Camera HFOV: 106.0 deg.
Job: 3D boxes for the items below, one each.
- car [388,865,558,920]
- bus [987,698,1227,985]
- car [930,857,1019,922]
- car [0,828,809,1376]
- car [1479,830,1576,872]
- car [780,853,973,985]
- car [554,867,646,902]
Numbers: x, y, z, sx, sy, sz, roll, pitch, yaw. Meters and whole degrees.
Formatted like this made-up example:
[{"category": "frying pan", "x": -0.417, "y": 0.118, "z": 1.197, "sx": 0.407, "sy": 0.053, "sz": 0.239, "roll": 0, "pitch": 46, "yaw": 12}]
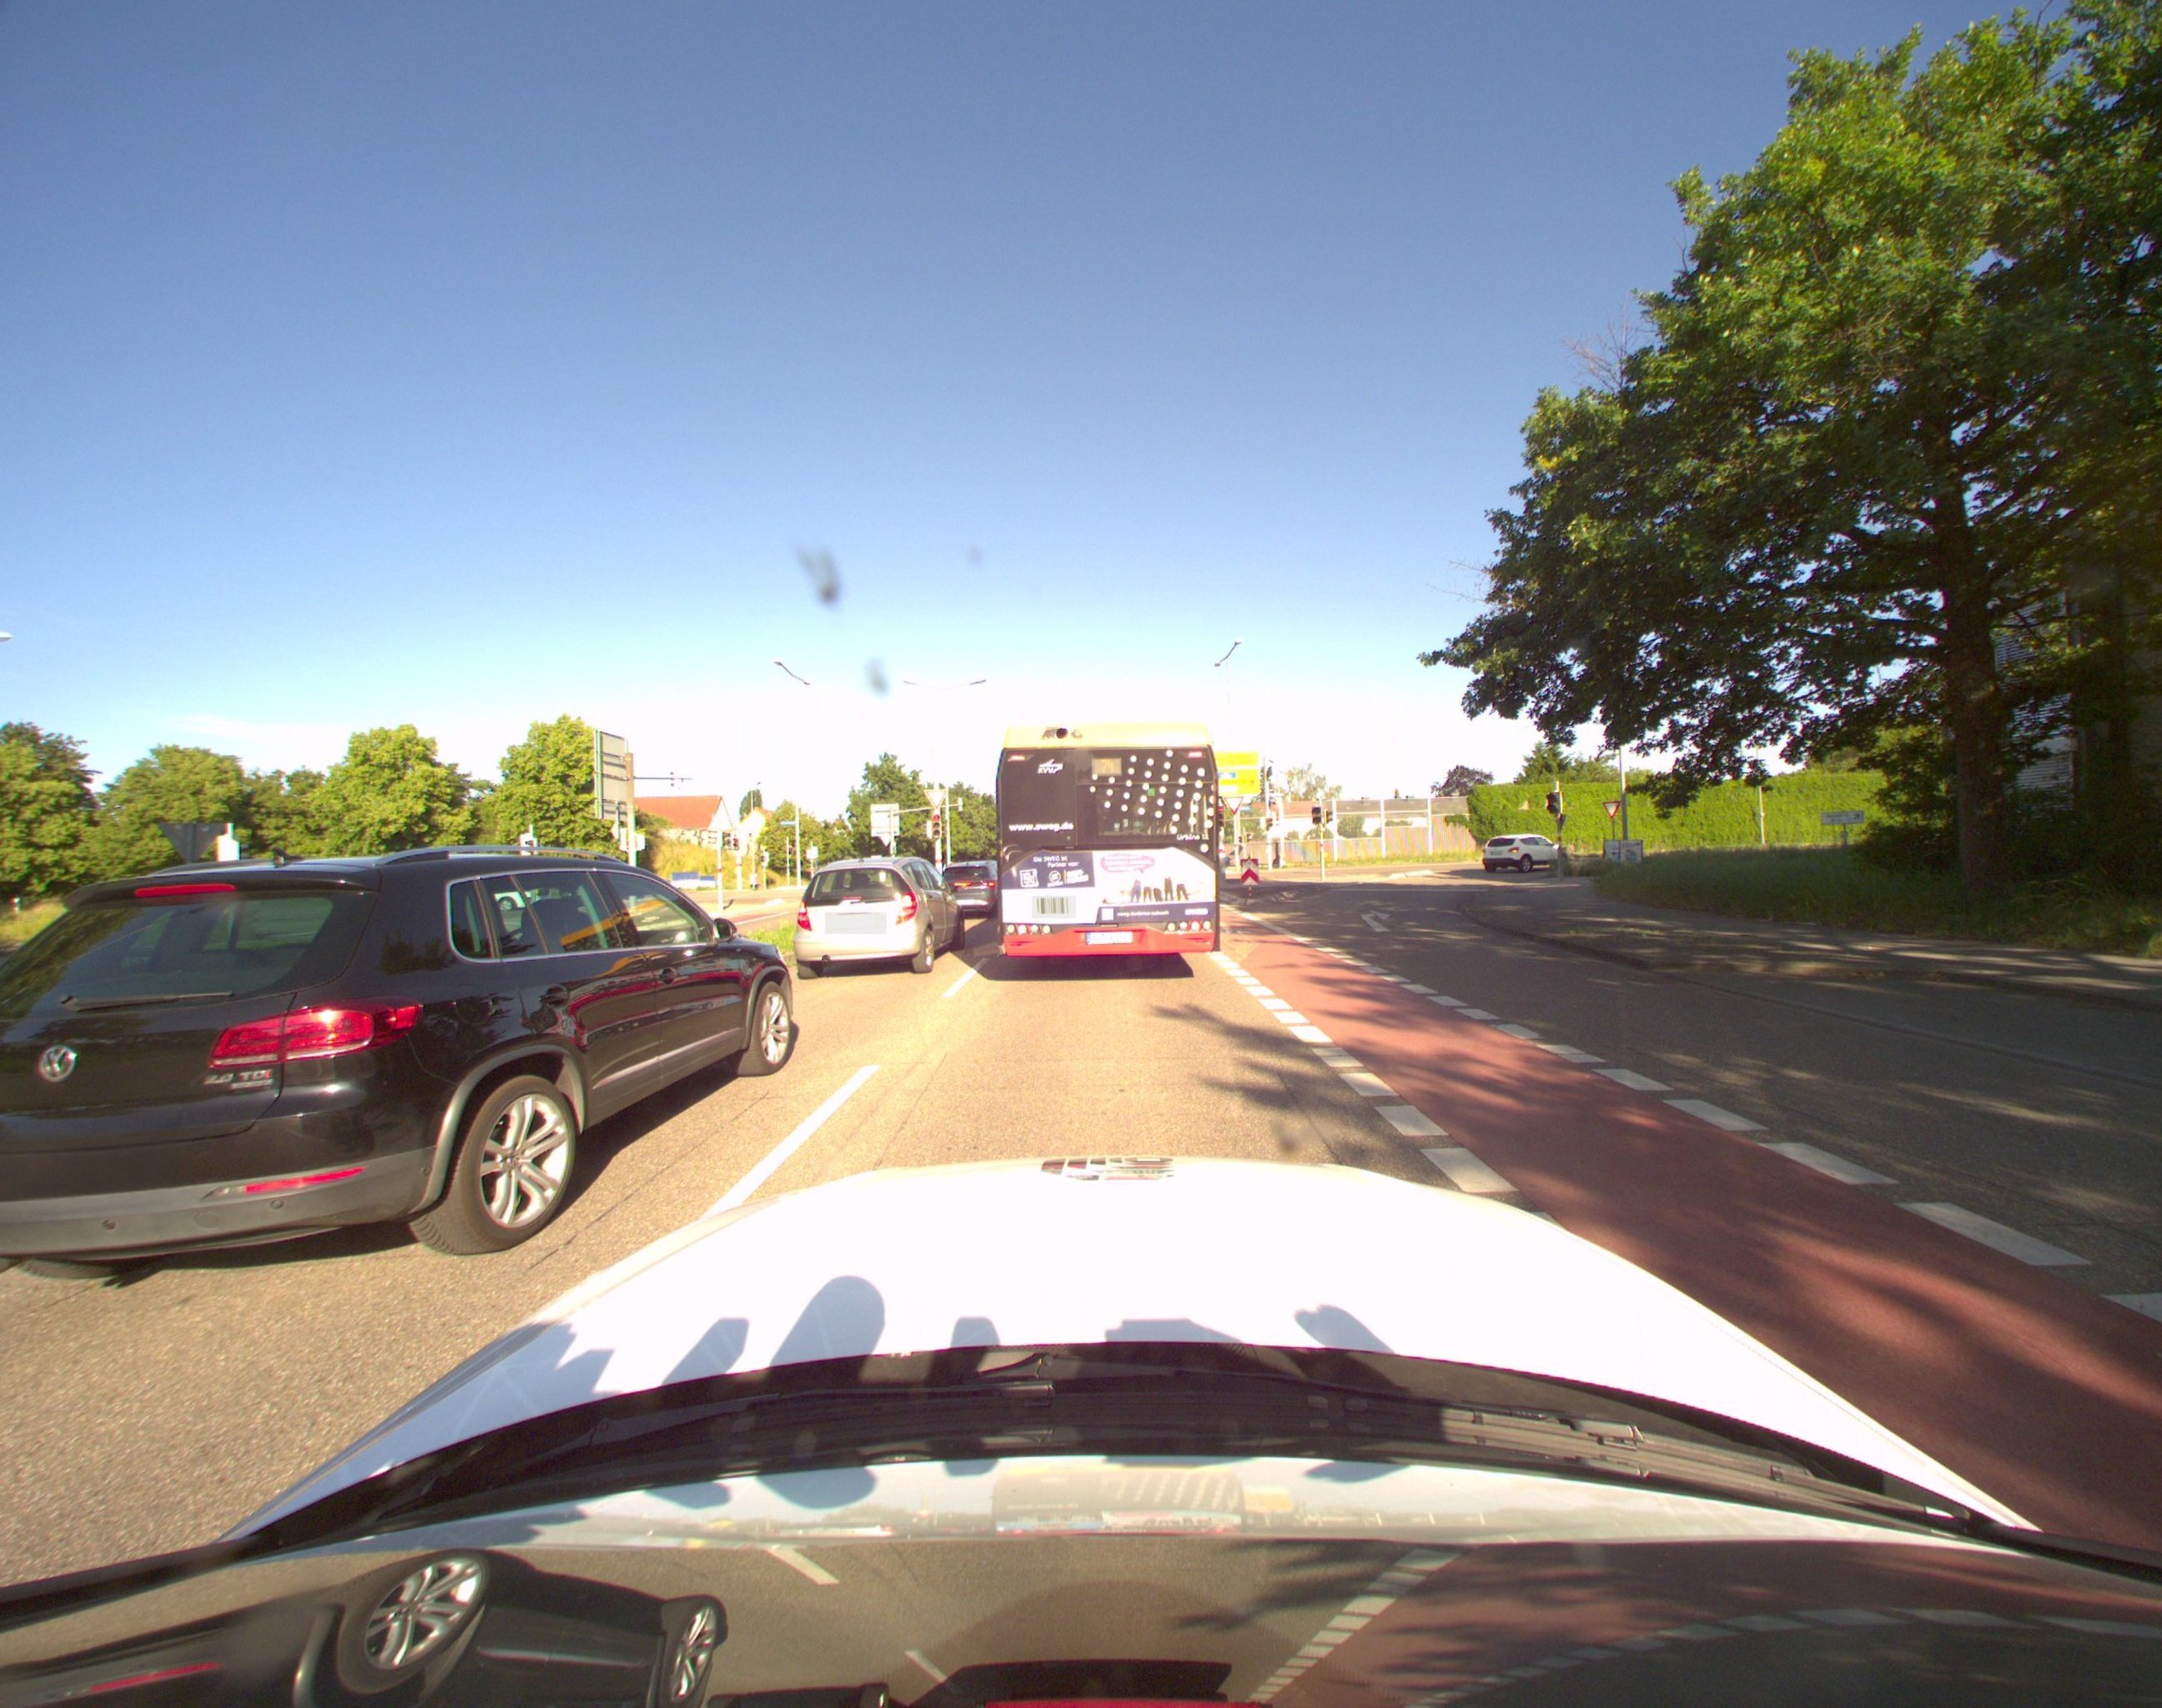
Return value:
[{"category": "car", "x": -25.623, "y": 1.595, "z": 34.504, "sx": 5.375, "sy": 2.118, "sz": 2.178, "roll": -1, "pitch": -1, "yaw": -4}, {"category": "bus", "x": 0.530, "y": -0.164, "z": 15.023, "sx": 2.632, "sy": 3.167, "sz": 11.867, "roll": -1, "pitch": 0, "yaw": 2}, {"category": "car", "x": -2.681, "y": 0.858, "z": 21.319, "sx": 1.686, "sy": 1.458, "sz": 3.751, "roll": -3, "pitch": 0, "yaw": 1}, {"category": "car", "x": -3.163, "y": 0.800, "z": 4.559, "sx": 1.766, "sy": 1.653, "sz": 4.001, "roll": -3, "pitch": 0, "yaw": 1}, {"category": "car", "x": 19.219, "y": -0.148, "z": 35.019, "sx": 4.079, "sy": 1.607, "sz": 1.707, "roll": -3, "pitch": 1, "yaw": -29}, {"category": "car", "x": -2.867, "y": 0.825, "z": 12.385, "sx": 1.755, "sy": 1.589, "sz": 4.001, "roll": -3, "pitch": 0, "yaw": 1}, {"category": "car", "x": -24.564, "y": 1.544, "z": 41.677, "sx": 3.577, "sy": 1.560, "sz": 1.747, "roll": -2, "pitch": 0, "yaw": -5}]
